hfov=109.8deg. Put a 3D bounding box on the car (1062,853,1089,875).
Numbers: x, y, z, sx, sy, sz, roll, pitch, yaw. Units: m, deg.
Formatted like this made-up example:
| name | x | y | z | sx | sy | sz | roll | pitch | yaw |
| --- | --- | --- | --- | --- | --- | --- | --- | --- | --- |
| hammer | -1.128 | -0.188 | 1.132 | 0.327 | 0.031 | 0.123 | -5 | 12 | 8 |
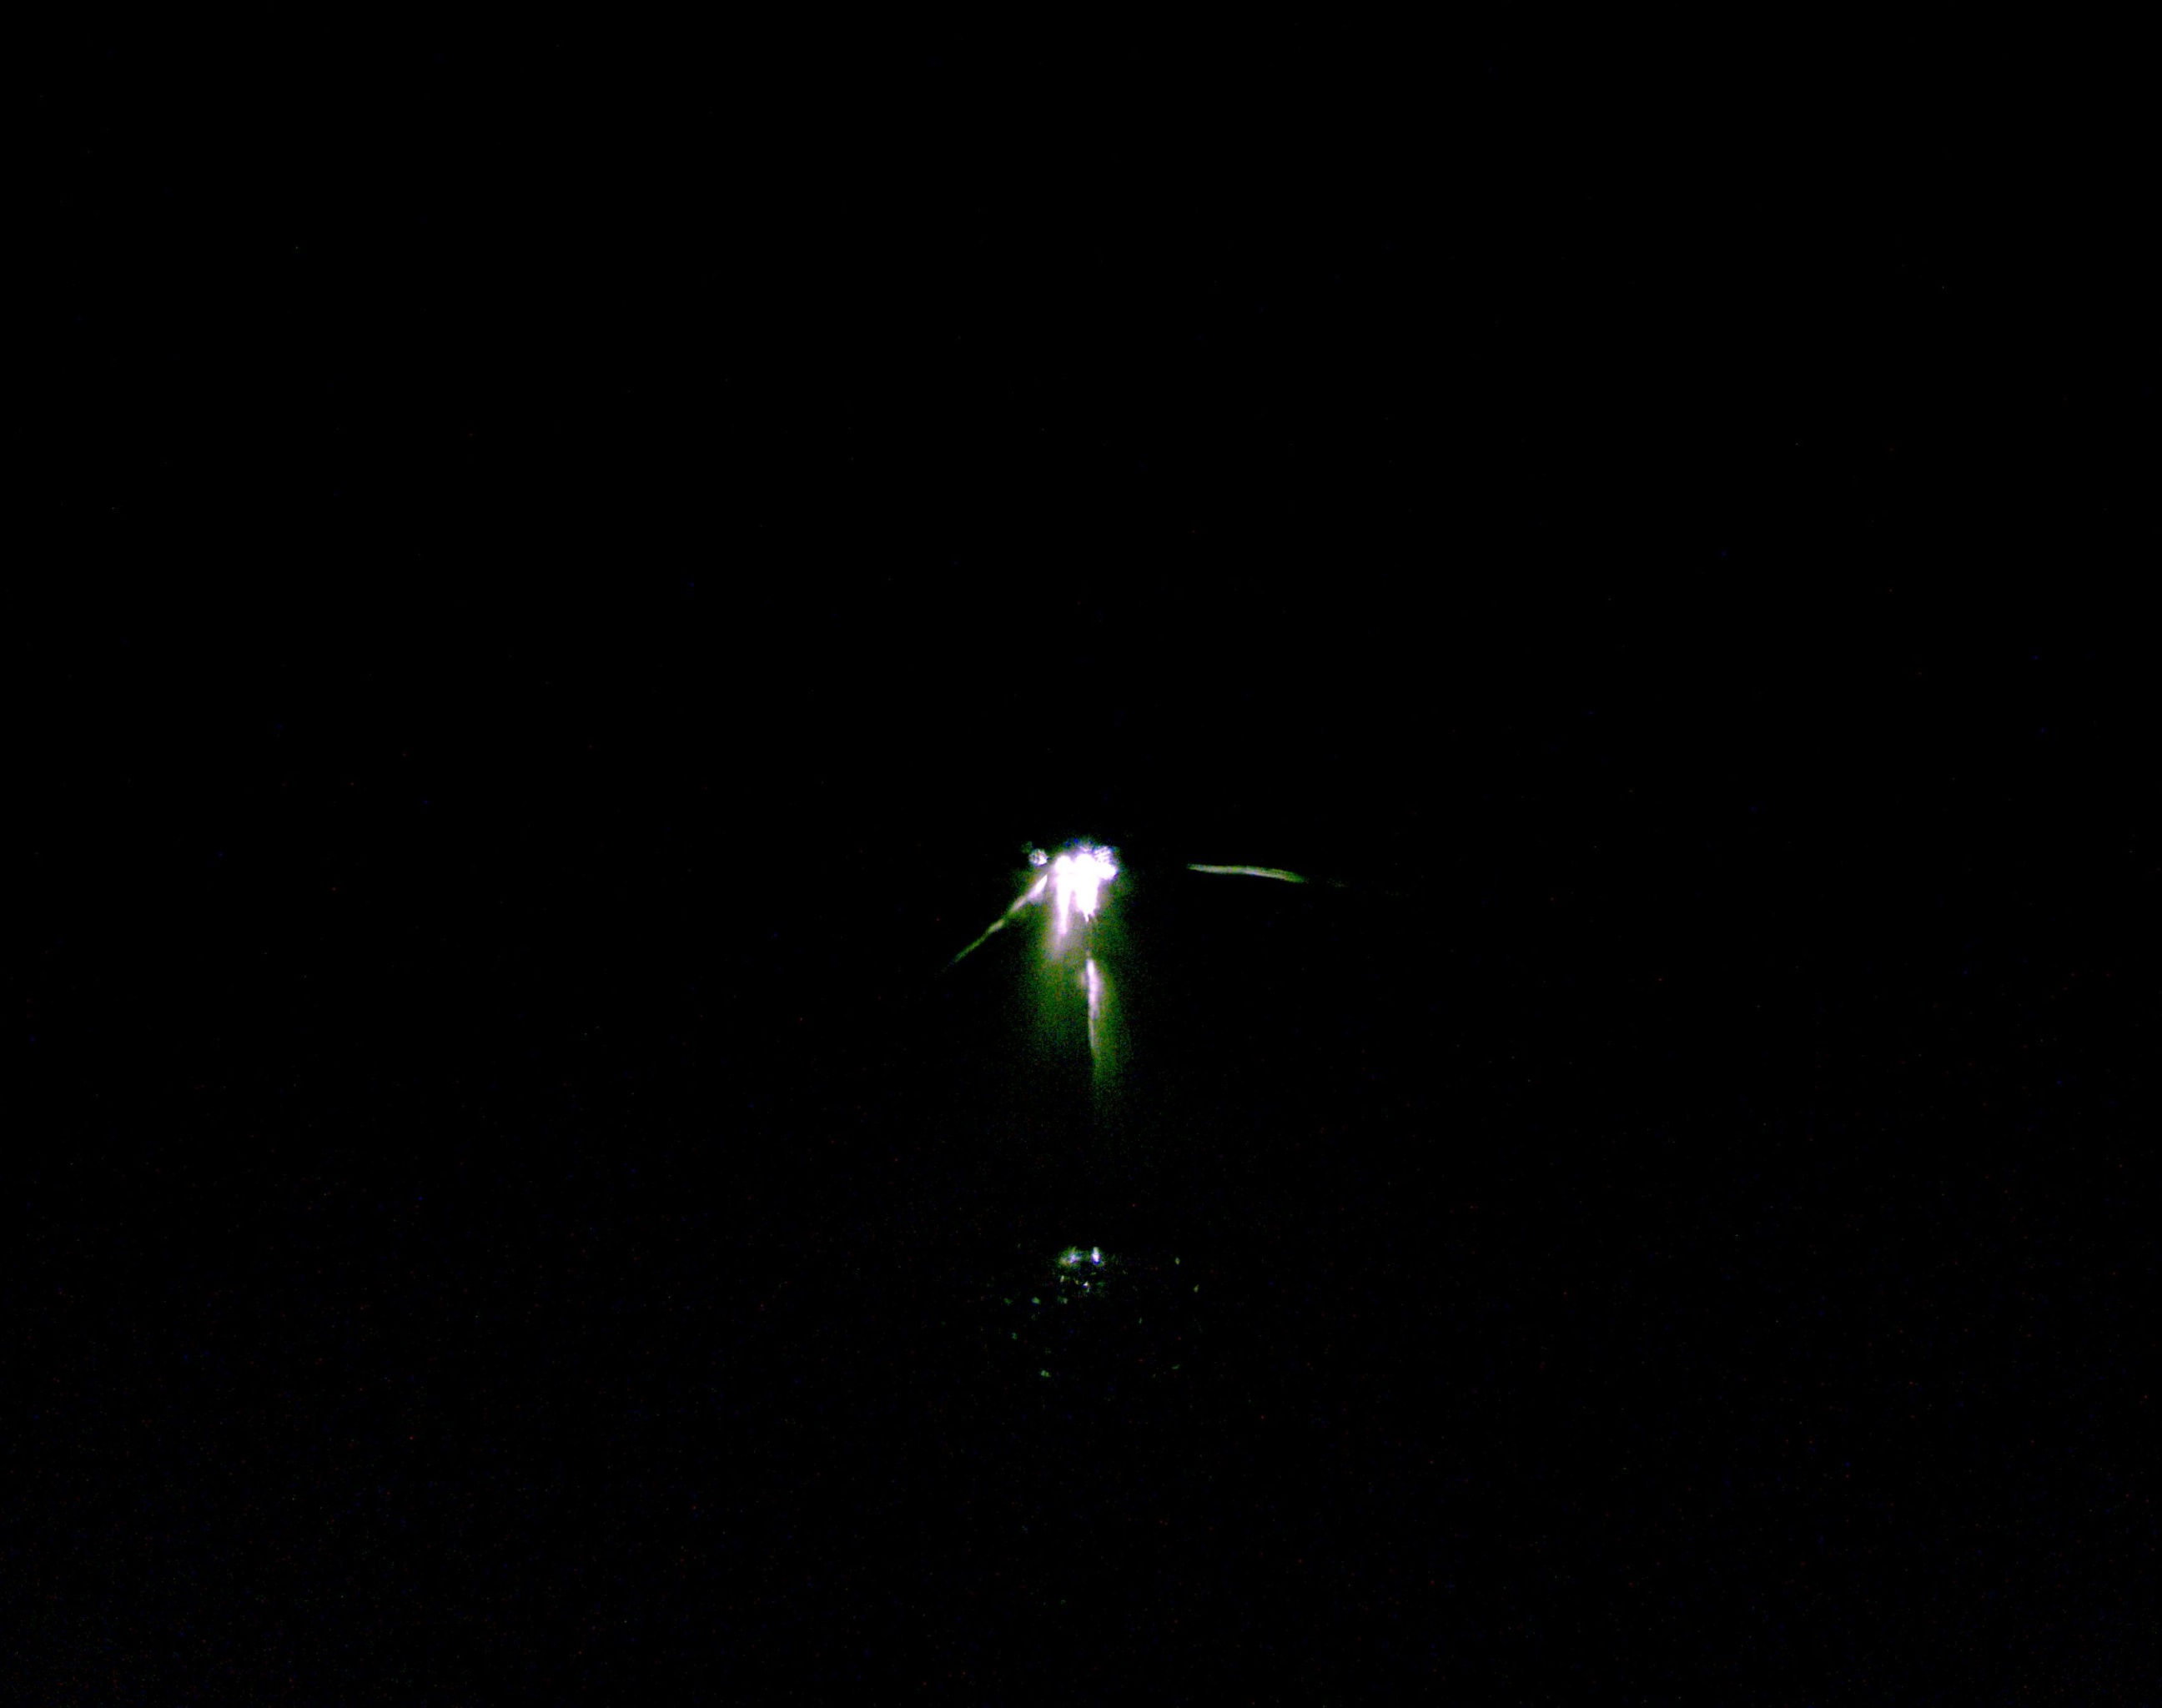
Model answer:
| name | x | y | z | sx | sy | sz | roll | pitch | yaw |
| --- | --- | --- | --- | --- | --- | --- | --- | --- | --- |
| car | -0.415 | 0.719 | 55.584 | 1.776 | 1.444 | 4.134 | -3 | 0 | -2 |
